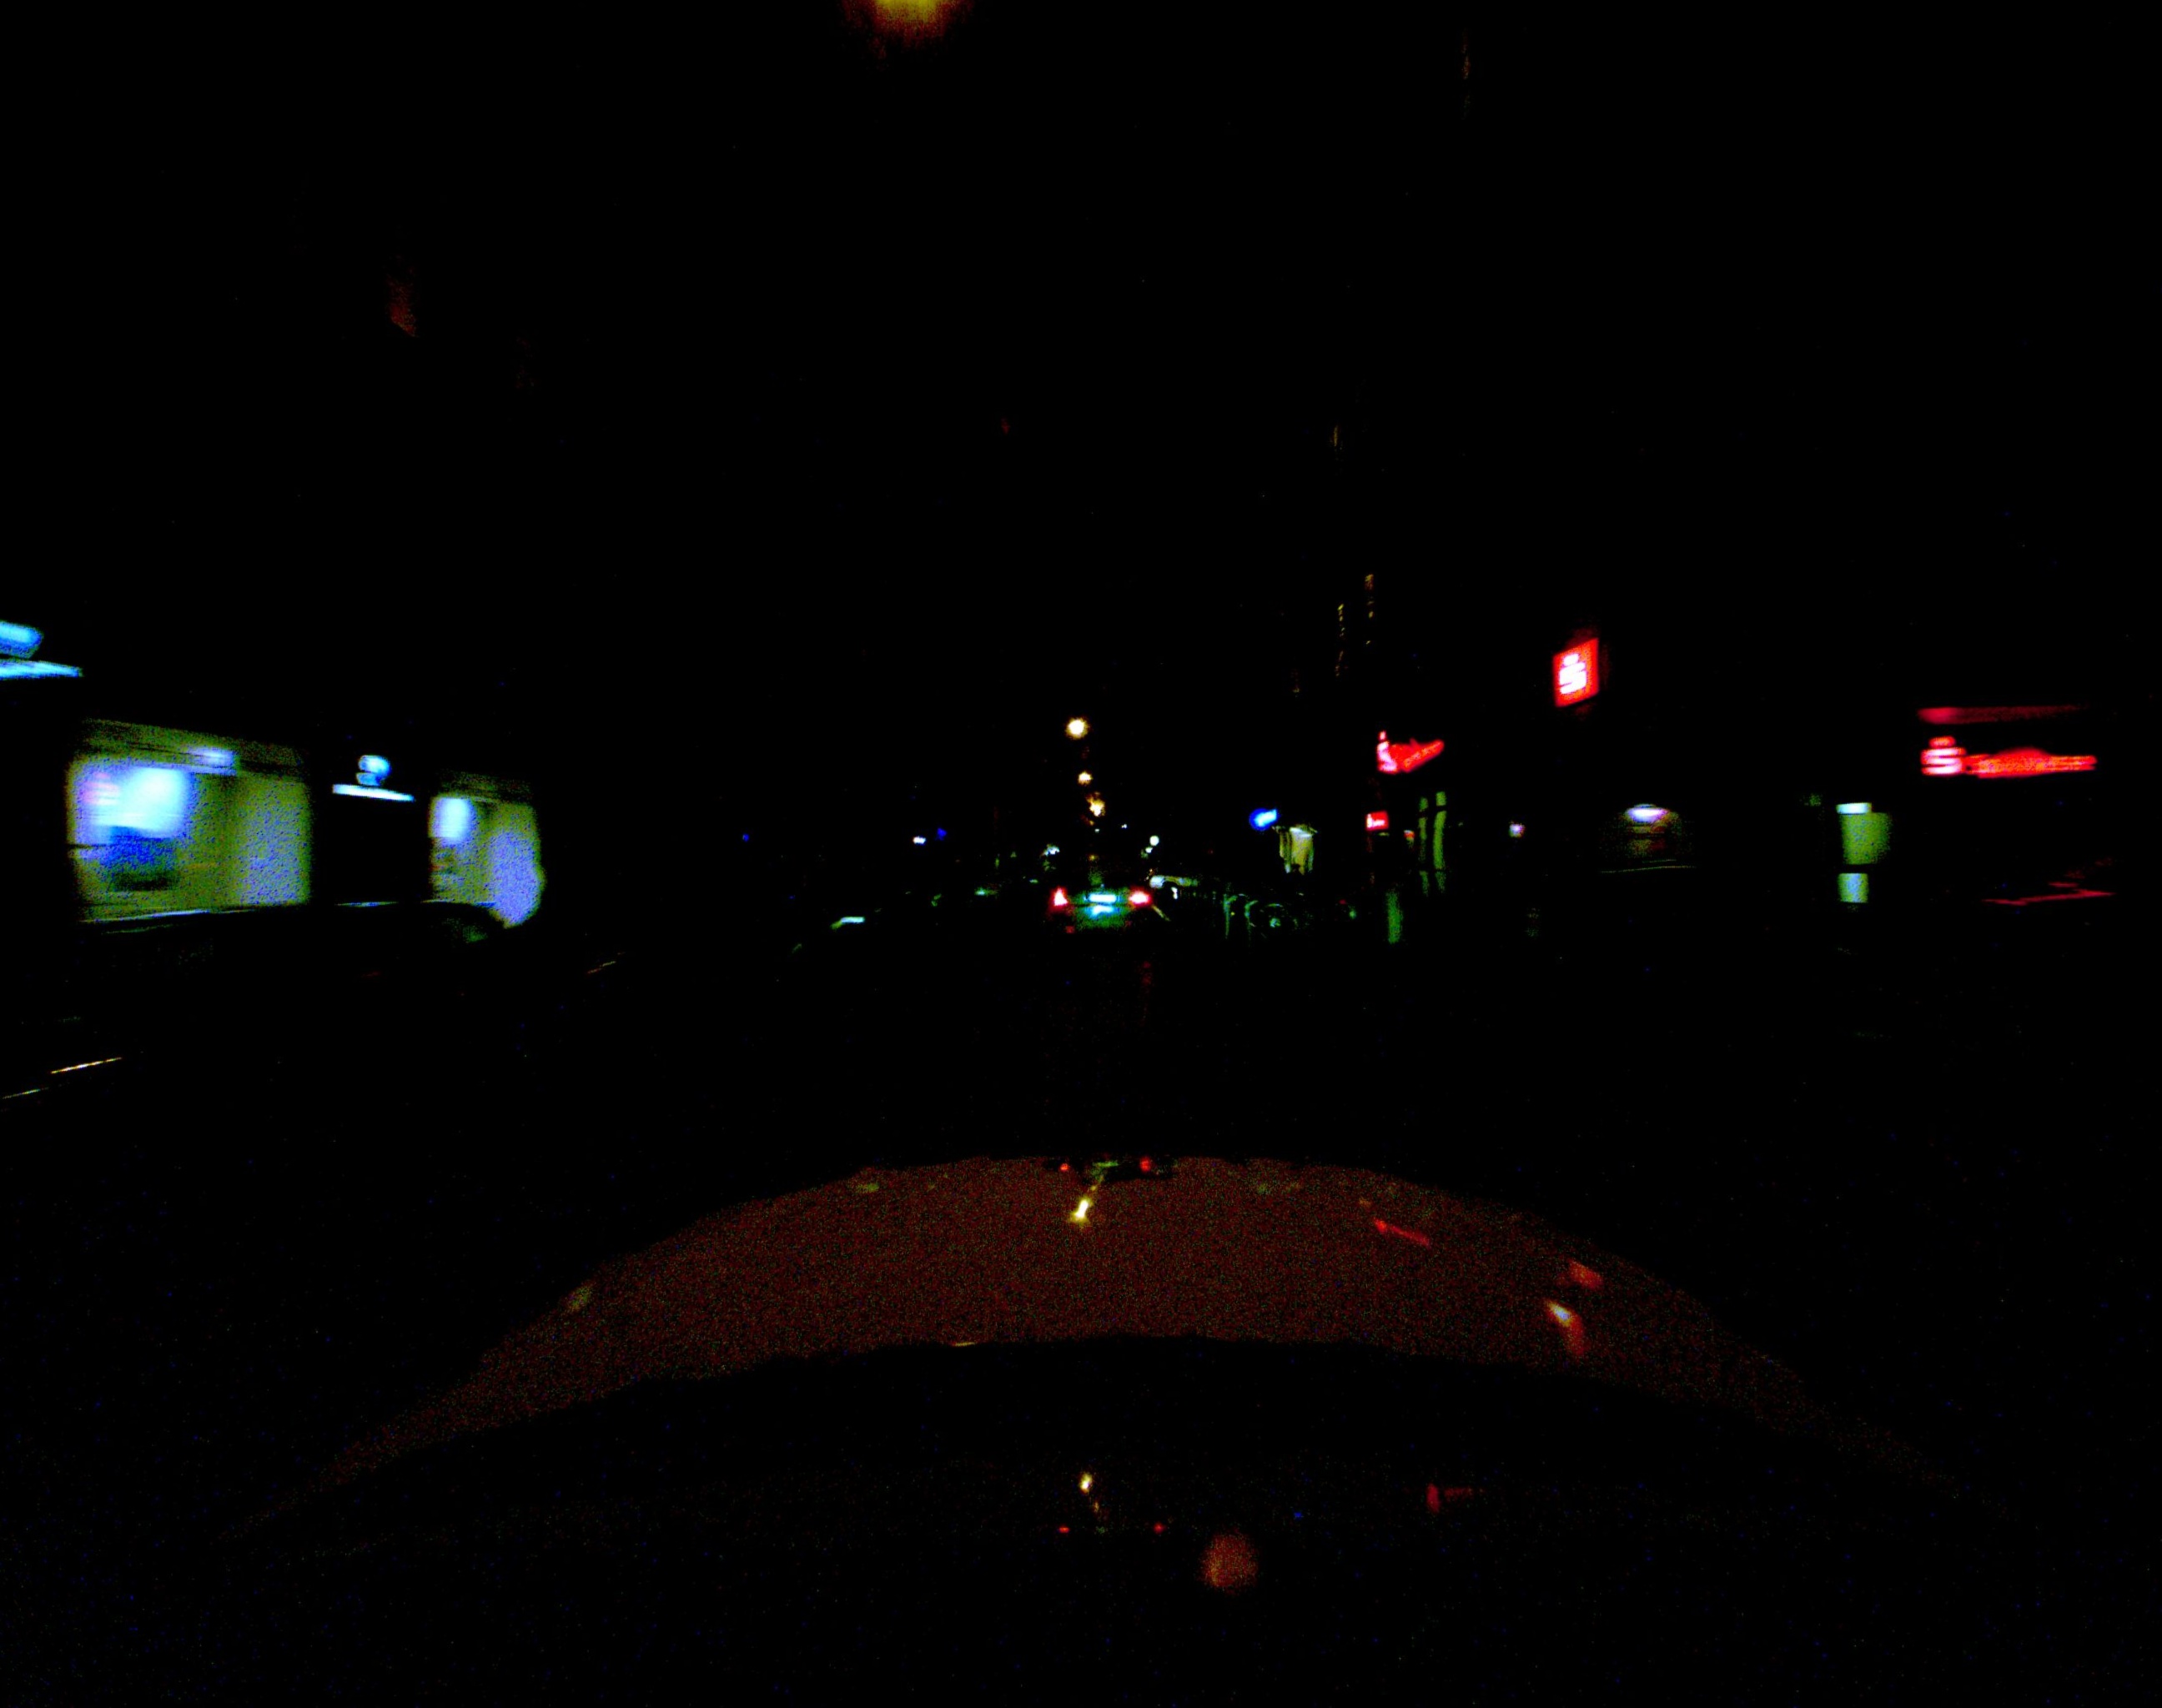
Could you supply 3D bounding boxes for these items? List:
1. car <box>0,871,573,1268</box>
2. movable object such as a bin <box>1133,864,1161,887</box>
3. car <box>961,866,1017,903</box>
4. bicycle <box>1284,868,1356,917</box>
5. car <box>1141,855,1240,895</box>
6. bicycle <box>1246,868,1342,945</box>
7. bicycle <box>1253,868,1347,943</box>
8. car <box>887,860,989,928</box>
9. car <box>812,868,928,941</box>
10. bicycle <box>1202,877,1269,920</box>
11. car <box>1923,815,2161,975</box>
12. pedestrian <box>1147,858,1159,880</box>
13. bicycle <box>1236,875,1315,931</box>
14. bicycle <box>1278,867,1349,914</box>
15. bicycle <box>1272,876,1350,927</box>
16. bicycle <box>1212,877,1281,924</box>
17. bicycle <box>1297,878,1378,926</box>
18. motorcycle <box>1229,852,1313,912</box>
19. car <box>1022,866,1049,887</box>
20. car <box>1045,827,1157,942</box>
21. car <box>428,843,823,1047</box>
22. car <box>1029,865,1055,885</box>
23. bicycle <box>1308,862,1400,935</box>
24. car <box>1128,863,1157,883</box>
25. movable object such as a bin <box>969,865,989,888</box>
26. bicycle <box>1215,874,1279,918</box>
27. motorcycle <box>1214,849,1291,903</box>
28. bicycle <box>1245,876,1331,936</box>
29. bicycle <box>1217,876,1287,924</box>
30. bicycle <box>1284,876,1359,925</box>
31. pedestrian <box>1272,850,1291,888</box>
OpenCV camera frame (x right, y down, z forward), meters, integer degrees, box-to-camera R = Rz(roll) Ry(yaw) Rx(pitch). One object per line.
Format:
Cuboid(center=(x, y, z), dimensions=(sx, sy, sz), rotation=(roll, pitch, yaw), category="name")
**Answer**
Cuboid(center=(-5.217, 0.934, 5.017), dimensions=(1.720, 1.575, 3.721), rotation=(-1, -1, 2), category="car")
Cuboid(center=(4.241, 1.379, 52.260), dimensions=(1.347, 1.429, 1.188), rotation=(-1, -1, -35), category="movable object such as a bin")
Cuboid(center=(-4.116, 1.328, 37.127), dimensions=(1.760, 1.483, 4.775), rotation=(2, 0, 2), category="car")
Cuboid(center=(5.691, 0.913, 19.394), dimensions=(1.526, 0.952, 0.366), rotation=(-7, -2, -4), category="bicycle")
Cuboid(center=(5.297, 1.012, 39.807), dimensions=(4.497, 1.530, 1.780), rotation=(-5, -1, 0), category="car")
Cuboid(center=(3.854, 0.944, 14.791), dimensions=(1.522, 1.202, 0.366), rotation=(-7, -2, 3), category="bicycle")
Cuboid(center=(4.092, 0.957, 15.238), dimensions=(1.524, 1.202, 0.366), rotation=(-7, -2, 0), category="bicycle")
Cuboid(center=(-4.220, 1.118, 24.975), dimensions=(1.988, 1.829, 5.209), rotation=(-1, -1, 2), category="car")
Cuboid(center=(-4.746, 1.092, 18.857), dimensions=(1.563, 1.460, 3.721), rotation=(-1, -1, 2), category="car")
Cuboid(center=(4.140, 1.198, 21.856), dimensions=(1.660, 0.952, 0.367), rotation=(-7, -2, 8), category="bicycle")
Cuboid(center=(13.317, 0.464, 9.930), dimensions=(4.129, 1.770, 1.844), rotation=(0, -1, 2), category="car")
Cuboid(center=(6.124, 1.278, 69.296), dimensions=(0.858, 1.788, 1.084), rotation=(-3, 0, 5), category="pedestrian")
Cuboid(center=(4.216, 1.065, 17.673), dimensions=(1.521, 1.023, 0.367), rotation=(-7, -2, 5), category="bicycle")
Cuboid(center=(5.691, 0.881, 19.939), dimensions=(1.525, 0.952, 0.366), rotation=(-7, -2, -3), category="bicycle")
Cuboid(center=(5.099, 1.052, 18.106), dimensions=(1.521, 0.952, 0.367), rotation=(-7, -2, 5), category="bicycle")
Cuboid(center=(4.063, 1.128, 19.996), dimensions=(1.525, 0.952, 0.366), rotation=(-7, -2, -3), category="bicycle")
Cuboid(center=(5.401, 1.009, 17.201), dimensions=(1.521, 0.833, 0.326), rotation=(-7, -2, 5), category="bicycle")
Cuboid(center=(5.588, 0.818, 24.081), dimensions=(2.165, 1.547, 0.867), rotation=(-5, -1, 1), category="motorcycle")
Cuboid(center=(-3.346, 1.634, 59.891), dimensions=(1.666, 1.491, 3.722), rotation=(0, -1, 1), category="car")
Cuboid(center=(0.455, 0.580, 17.178), dimensions=(1.988, 2.049, 4.696), rotation=(-1, -1, 2), category="car")
Cuboid(center=(-4.932, 0.853, 9.852), dimensions=(1.895, 1.829, 4.831), rotation=(-1, -1, 2), category="car")
Cuboid(center=(-3.175, 1.693, 67.240), dimensions=(1.768, 1.572, 4.135), rotation=(-1, -1, 1), category="car")
Cuboid(center=(5.257, 0.846, 15.703), dimensions=(1.524, 1.202, 0.366), rotation=(-7, -2, 0), category="bicycle")
Cuboid(center=(4.697, 1.446, 62.807), dimensions=(1.986, 1.464, 4.418), rotation=(-1, -1, 1), category="car")
Cuboid(center=(-6.712, 1.501, 53.570), dimensions=(1.098, 1.454, 1.378), rotation=(-2, -1, -1), category="movable object such as a bin")
Cuboid(center=(4.338, 1.102, 21.309), dimensions=(1.520, 0.952, 0.367), rotation=(-7, -2, 8), category="bicycle")
Cuboid(center=(5.722, 0.732, 27.295), dimensions=(2.280, 1.588, 0.867), rotation=(-5, -1, 1), category="motorcycle")
Cuboid(center=(4.146, 1.039, 16.368), dimensions=(1.524, 1.023, 0.366), rotation=(-7, -2, 0), category="bicycle")
Cuboid(center=(4.106, 1.109, 19.592), dimensions=(1.525, 0.952, 0.366), rotation=(-7, -2, -3), category="bicycle")
Cuboid(center=(5.580, 1.075, 18.915), dimensions=(1.525, 0.952, 0.366), rotation=(-7, -2, -3), category="bicycle")
Cuboid(center=(9.626, 0.720, 39.019), dimensions=(0.699, 1.788, 0.625), rotation=(-3, 0, 5), category="pedestrian")
